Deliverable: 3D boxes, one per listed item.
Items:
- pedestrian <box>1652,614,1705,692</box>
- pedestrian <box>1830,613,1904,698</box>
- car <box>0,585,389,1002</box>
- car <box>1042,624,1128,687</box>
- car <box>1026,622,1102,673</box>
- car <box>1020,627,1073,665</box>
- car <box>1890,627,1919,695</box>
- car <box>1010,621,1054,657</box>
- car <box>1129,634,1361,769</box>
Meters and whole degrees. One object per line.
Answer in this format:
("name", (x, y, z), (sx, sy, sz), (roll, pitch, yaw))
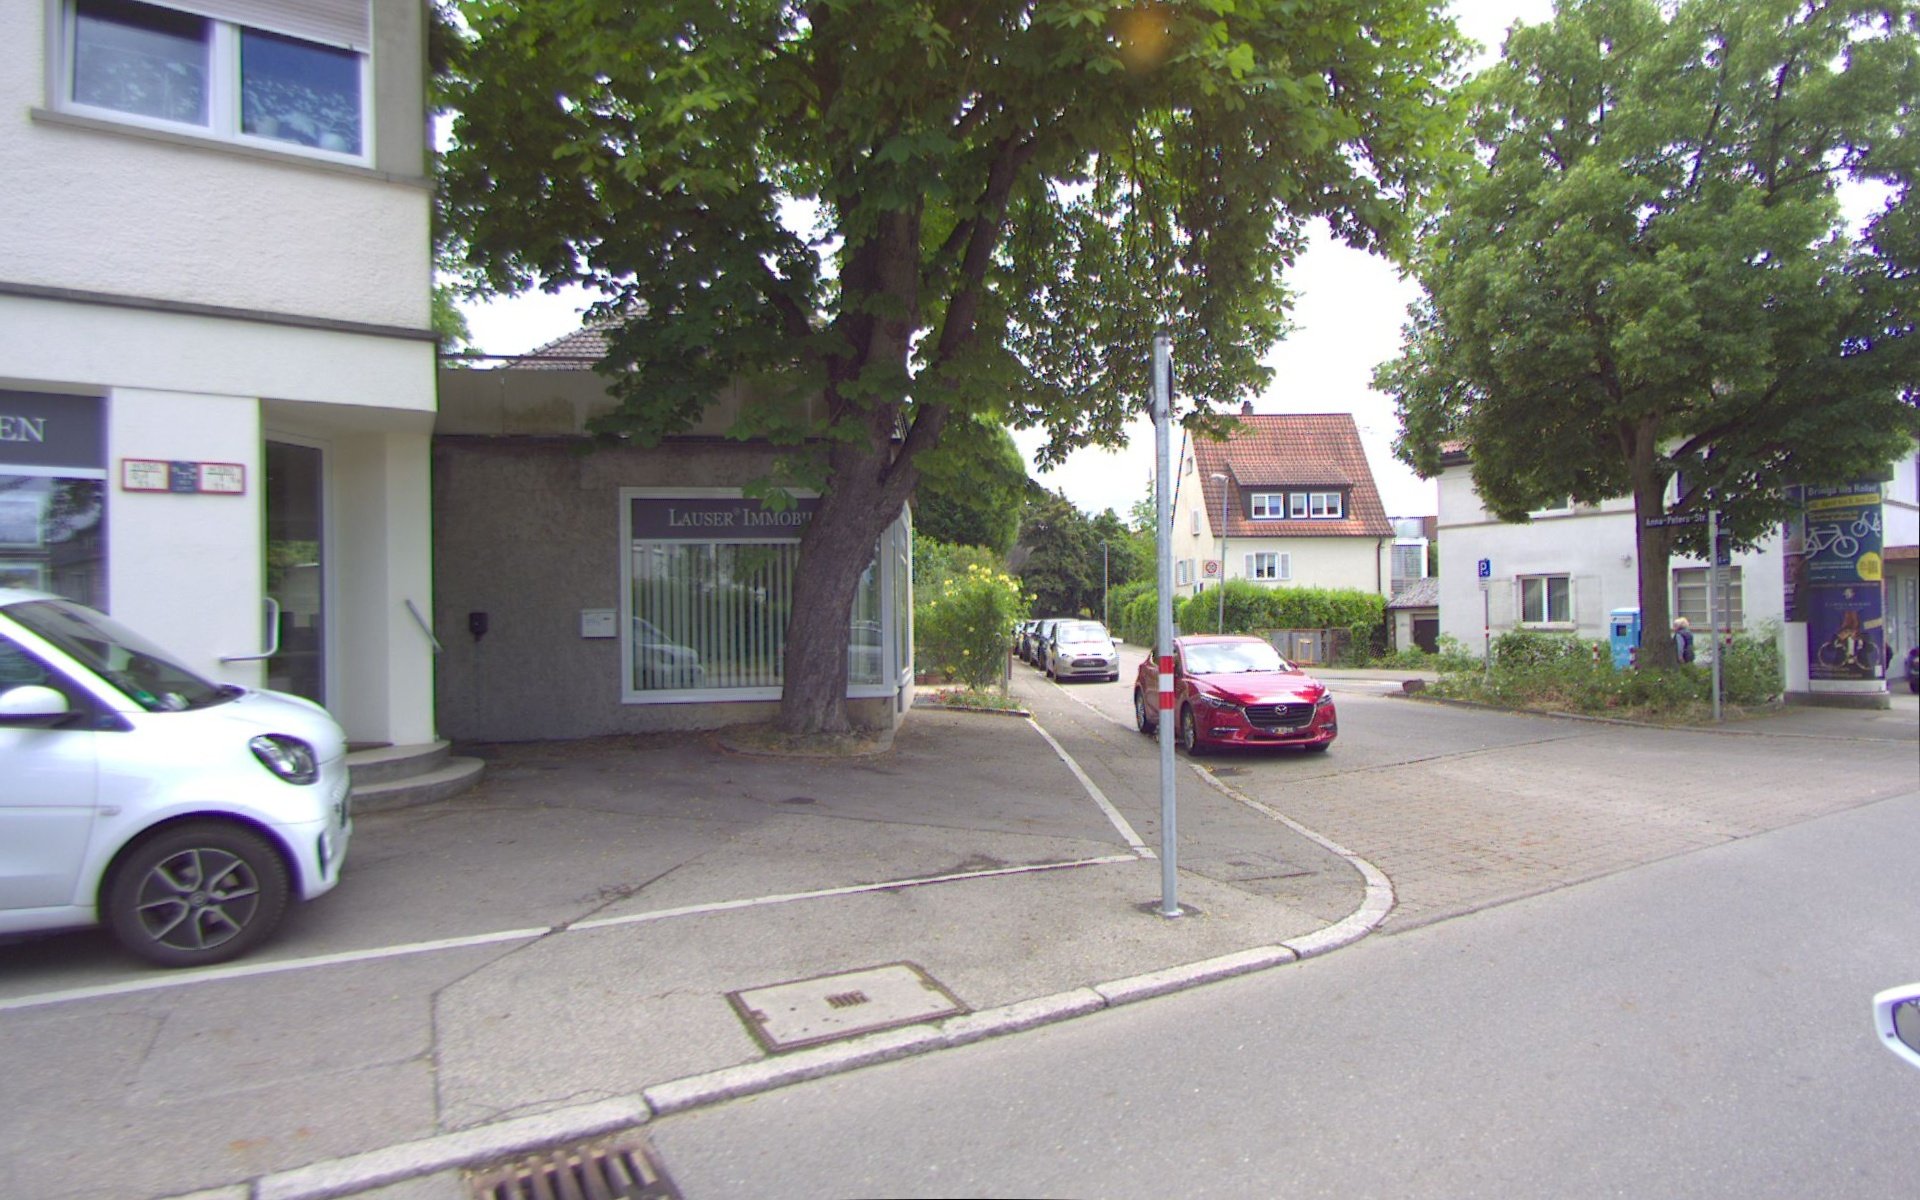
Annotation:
("pedestrian", (15.518, 1.133, 21.699), (0.706, 1.638, 0.695), (0, 0, -28))
("pedestrian", (19.226, 1.147, 21.303), (0.749, 1.741, 0.886), (0, 1, -18))
("car", (-4.190, 0.724, 4.368), (2.887, 1.559, 1.582), (1, 1, -28))
("car", (3.342, 1.456, 27.570), (1.796, 1.509, 3.979), (-2, -1, 0))
("car", (3.424, 1.539, 33.796), (1.890, 1.514, 4.434), (-1, -1, -2))
("car", (3.355, 1.770, 39.474), (1.702, 1.361, 3.979), (-2, -1, 0))
("car", (22.827, 1.375, 22.228), (4.464, 1.460, 1.774), (1, 0, -26))
("car", (3.252, 1.750, 45.934), (1.720, 1.543, 3.816), (-2, -1, 0))
("car", (3.691, 1.253, 13.861), (1.781, 1.451, 4.233), (-3, -1, -3))
